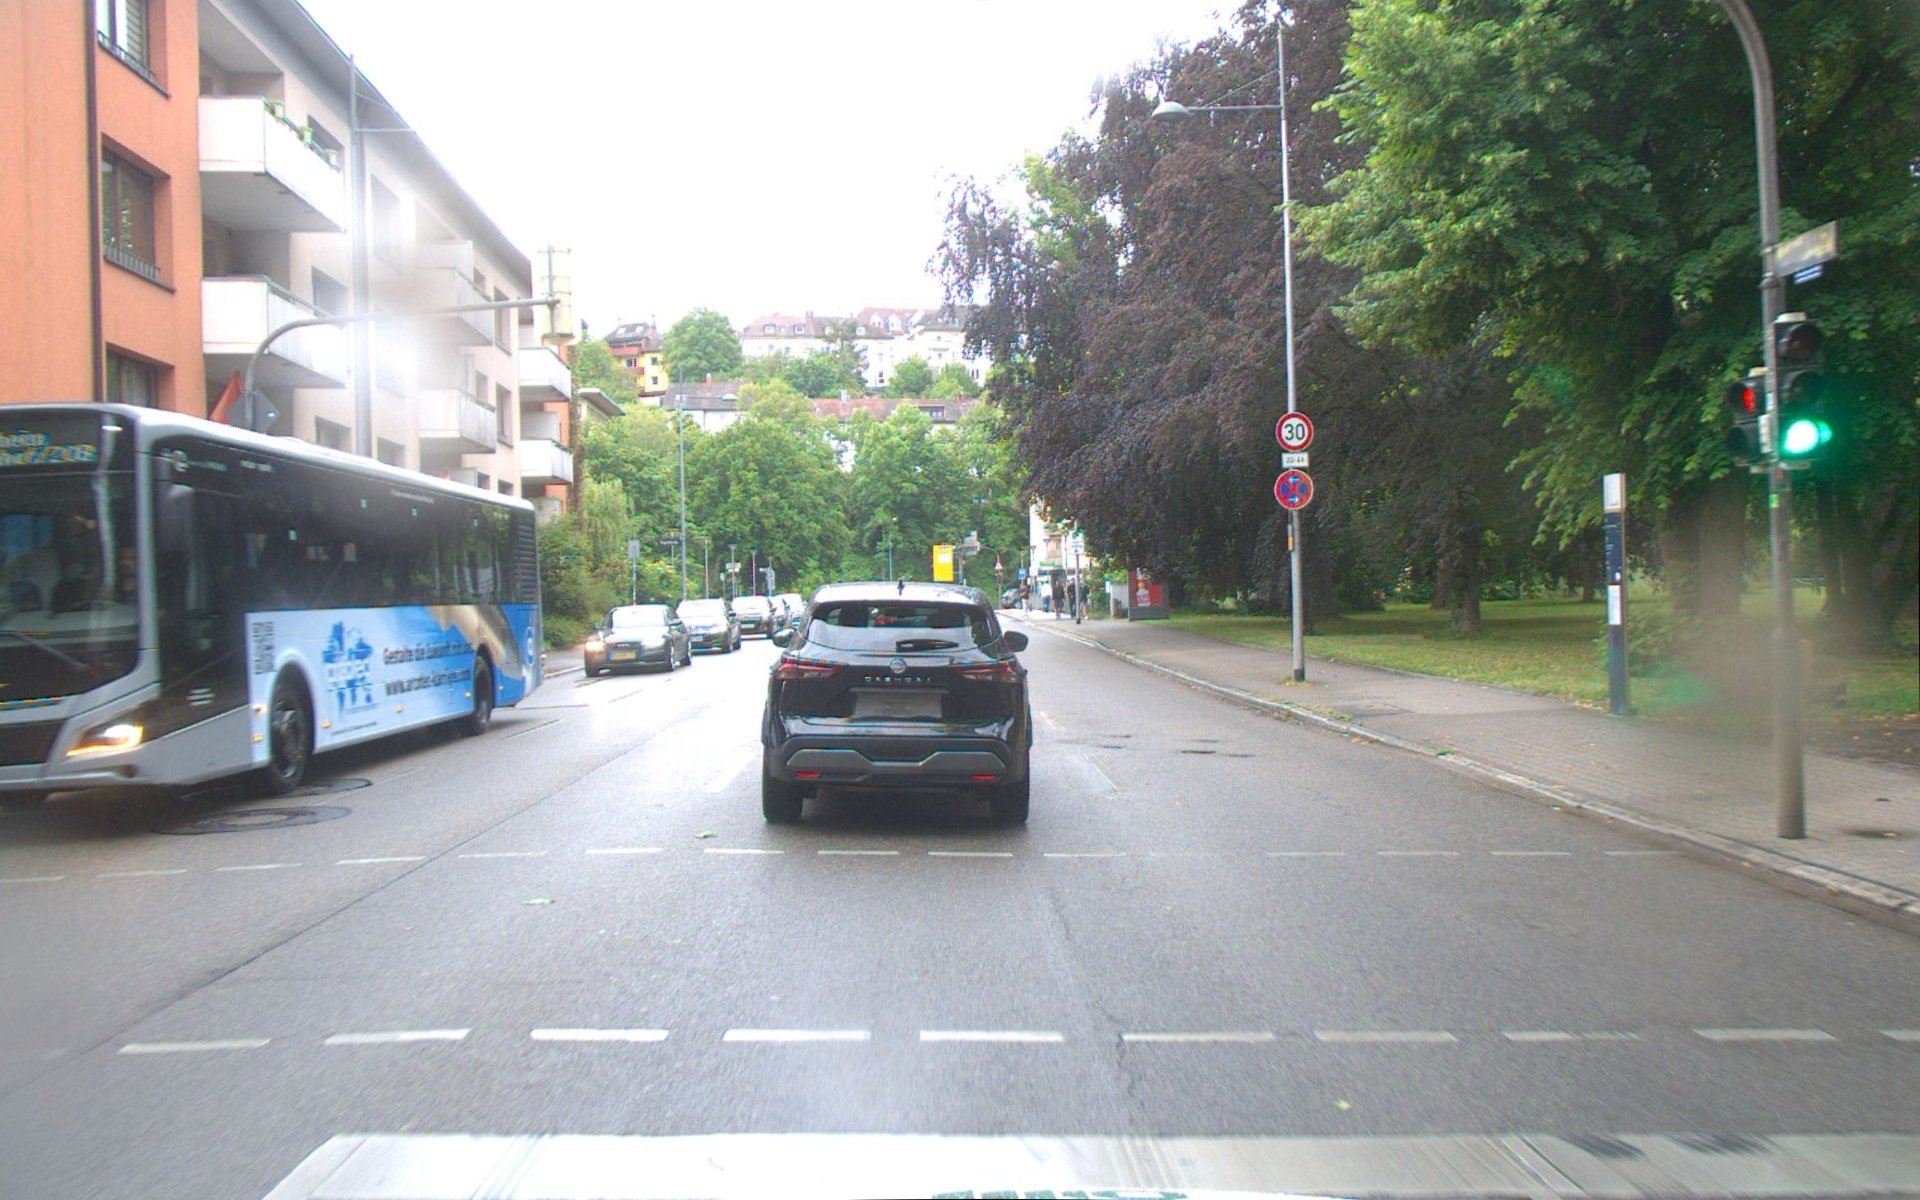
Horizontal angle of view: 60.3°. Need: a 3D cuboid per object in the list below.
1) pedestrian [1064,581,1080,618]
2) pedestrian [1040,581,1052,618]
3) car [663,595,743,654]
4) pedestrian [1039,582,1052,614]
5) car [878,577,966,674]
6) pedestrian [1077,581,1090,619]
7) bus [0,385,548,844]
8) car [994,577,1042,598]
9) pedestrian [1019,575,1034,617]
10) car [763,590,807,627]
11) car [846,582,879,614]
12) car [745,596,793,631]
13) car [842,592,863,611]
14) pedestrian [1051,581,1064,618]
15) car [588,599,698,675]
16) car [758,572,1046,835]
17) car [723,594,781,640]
[{"bbox_3d":[5.146,-0.019,76.000,0.684,1.680,0.629,1,-1,9],"label":"pedestrian"},{"bbox_3d":[3.932,-0.040,75.691,0.465,1.680,0.490,1,-1,9],"label":"pedestrian"},{"bbox_3d":[-7.149,0.644,46.409,1.712,1.495,4.215,-3,0,-3],"label":"car"},{"bbox_3d":[4.840,-0.120,93.141,0.606,1.810,0.778,-2,0,-2],"label":"pedestrian"},{"bbox_3d":[-0.712,0.474,32.757,1.588,1.738,3.770,-2,0,0],"label":"car"},{"bbox_3d":[5.568,0.000,74.401,0.504,1.684,0.550,1,-1,-2],"label":"pedestrian"},{"bbox_3d":[-6.904,0.137,16.855,2.711,3.026,11.777,-2,0,-2],"label":"bus"},{"bbox_3d":[5.280,-1.143,150.861,3.917,1.713,1.994,-2,0,-12],"label":"car"},{"bbox_3d":[3.479,-0.210,86.945,0.752,2.222,0.711,1,-1,1],"label":"pedestrian"},{"bbox_3d":[-8.338,0.369,78.907,1.715,1.662,3.633,-2,0,-1],"label":"car"},{"bbox_3d":[-5.673,-0.139,96.307,1.728,1.788,3.633,-2,0,-1],"label":"car"},{"bbox_3d":[-7.876,0.528,68.505,1.643,1.318,3.749,-3,0,-3],"label":"car"},{"bbox_3d":[-8.751,0.106,134.923,1.684,1.494,3.683,-2,0,-3],"label":"car"},{"bbox_3d":[4.494,-0.030,75.902,0.533,1.680,0.490,1,-1,9],"label":"pedestrian"},{"bbox_3d":[-6.942,0.771,36.612,1.740,1.495,4.215,-3,0,-3],"label":"car"},{"bbox_3d":[-0.417,0.665,12.310,1.770,1.618,3.998,1,-1,-2],"label":"car"},{"bbox_3d":[-7.388,0.595,59.017,1.643,1.495,4.215,-3,0,-3],"label":"car"}]
